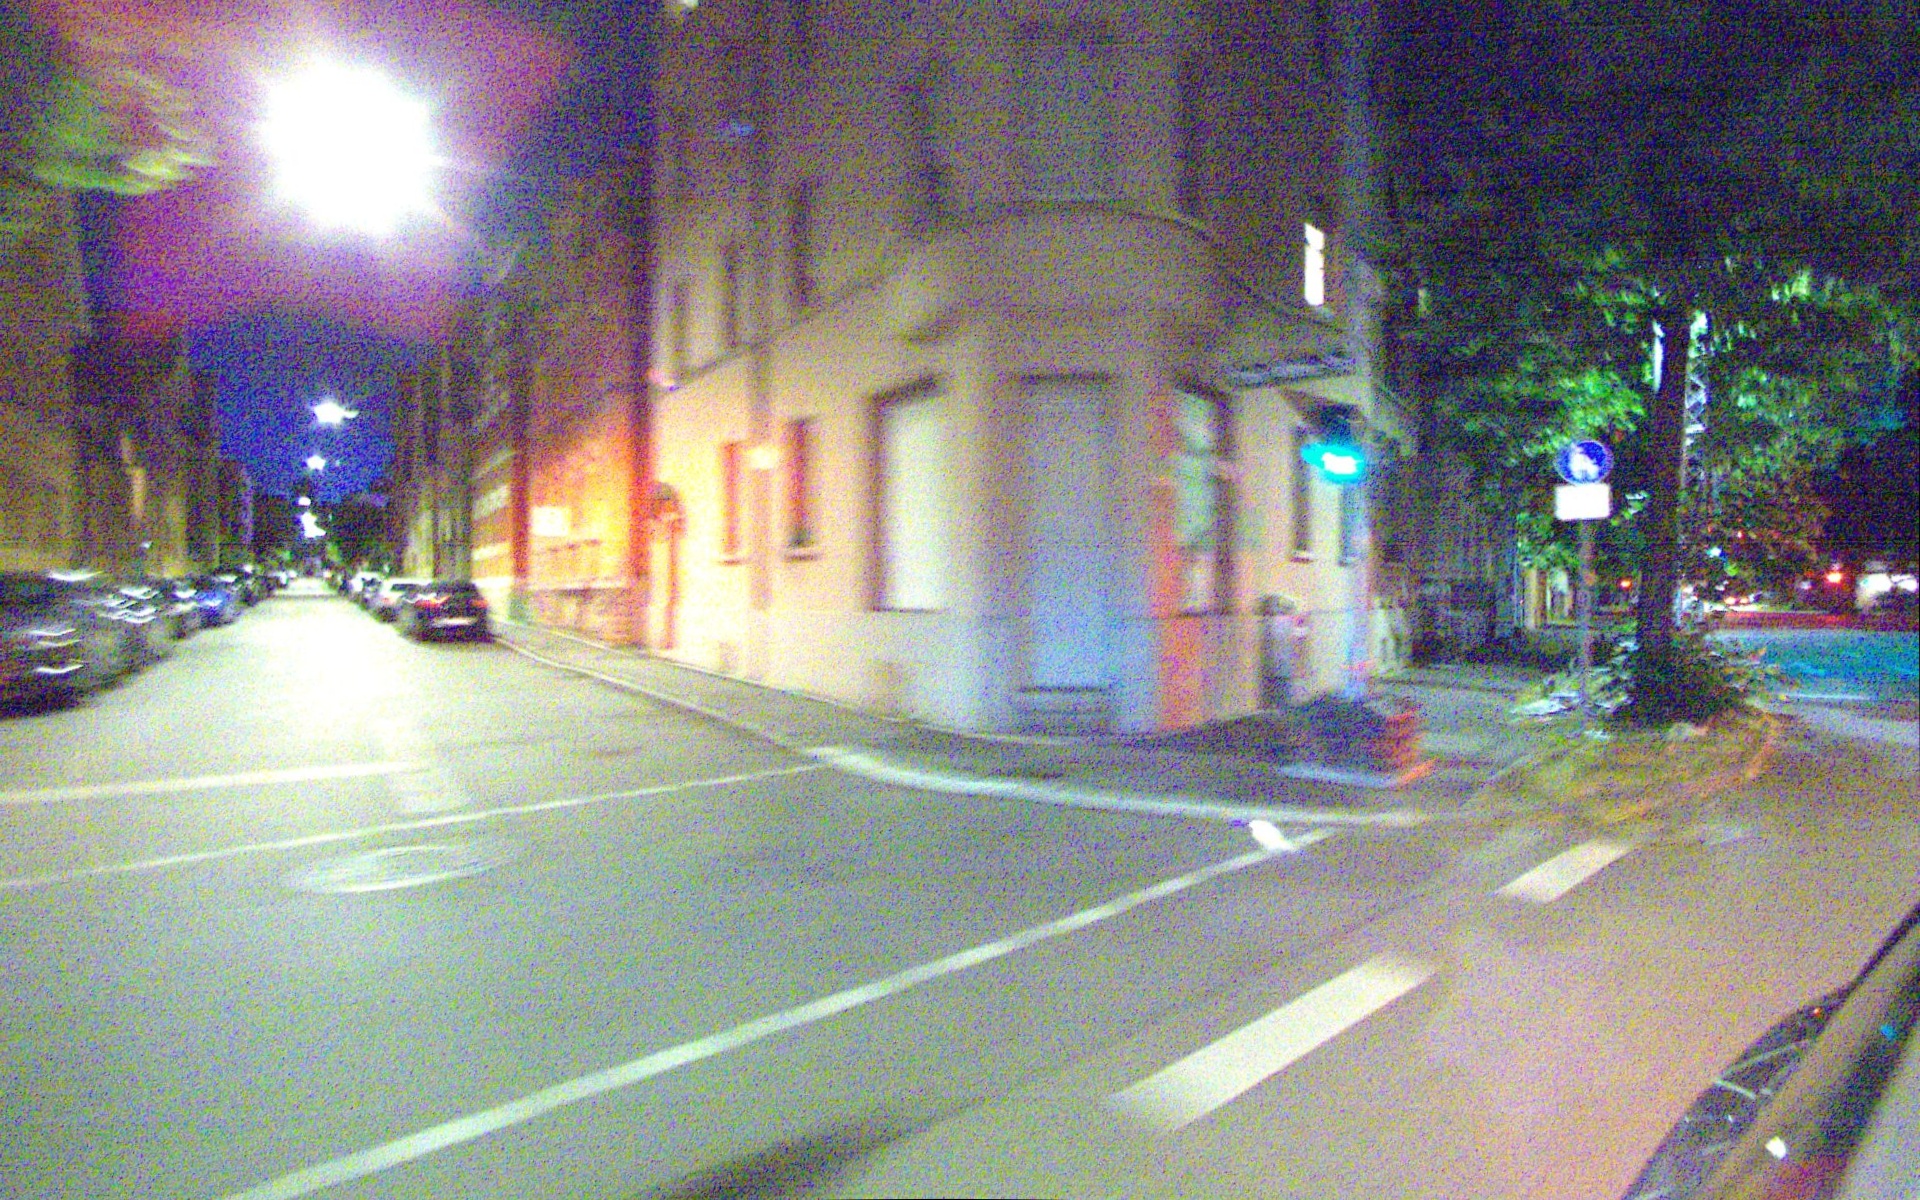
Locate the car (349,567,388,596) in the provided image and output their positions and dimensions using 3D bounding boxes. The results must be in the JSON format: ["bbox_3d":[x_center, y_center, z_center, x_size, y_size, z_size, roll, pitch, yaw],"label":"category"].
[{"bbox_3d":[-32.620,-1.004,55.756,1.708,1.505,3.778,0,1,-33],"label":"car"}]

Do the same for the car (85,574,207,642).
[{"bbox_3d":[-20.021,0.148,25.057,1.865,1.444,4.002,-4,3,-33],"label":"car"}]

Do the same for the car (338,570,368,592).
[{"bbox_3d":[-42.821,-1.315,71.384,1.708,1.505,3.778,0,1,-33],"label":"car"}]

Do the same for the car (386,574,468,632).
[{"bbox_3d":[-14.886,0.048,28.190,1.708,1.505,3.778,0,1,-33],"label":"car"}]

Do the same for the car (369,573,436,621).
[{"bbox_3d":[-18.723,-0.123,33.911,1.708,1.505,3.778,0,1,-33],"label":"car"}]

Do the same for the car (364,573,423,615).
[{"bbox_3d":[-21.046,-0.234,37.526,1.708,1.505,3.778,0,1,-33],"label":"car"}]

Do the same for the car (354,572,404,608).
[{"bbox_3d":[-25.274,-0.446,43.986,1.708,1.505,3.778,0,1,-33],"label":"car"}]

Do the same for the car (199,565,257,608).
[{"bbox_3d":[-33.853,-0.625,46.883,1.865,1.829,4.002,-4,3,-33],"label":"car"}]

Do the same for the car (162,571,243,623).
[{"bbox_3d":[-26.074,-0.137,34.969,1.865,1.583,4.002,-4,3,-33],"label":"car"}]

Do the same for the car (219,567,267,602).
[{"bbox_3d":[-39.234,-0.842,55.486,1.865,1.767,4.002,-4,3,-33],"label":"car"}]

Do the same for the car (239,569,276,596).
[{"bbox_3d":[-48.143,-1.204,69.403,1.865,1.767,4.002,-4,3,-33],"label":"car"}]

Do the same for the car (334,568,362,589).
[{"bbox_3d":[-45.460,-1.561,75.153,1.708,1.505,3.778,0,1,-33],"label":"car"}]

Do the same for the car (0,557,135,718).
[{"bbox_3d":[-11.670,0.407,12.443,1.833,1.713,4.002,-4,3,-32],"label":"car"}]

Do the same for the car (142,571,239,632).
[{"bbox_3d":[-22.473,0.009,29.685,1.865,1.583,4.002,-4,3,-33],"label":"car"}]

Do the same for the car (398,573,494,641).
[{"bbox_3d":[-12.389,0.130,24.283,1.708,1.505,3.778,0,1,-33],"label":"car"}]

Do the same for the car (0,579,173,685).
[{"bbox_3d":[-14.387,0.439,16.615,1.865,1.444,4.002,-4,3,-33],"label":"car"}]
